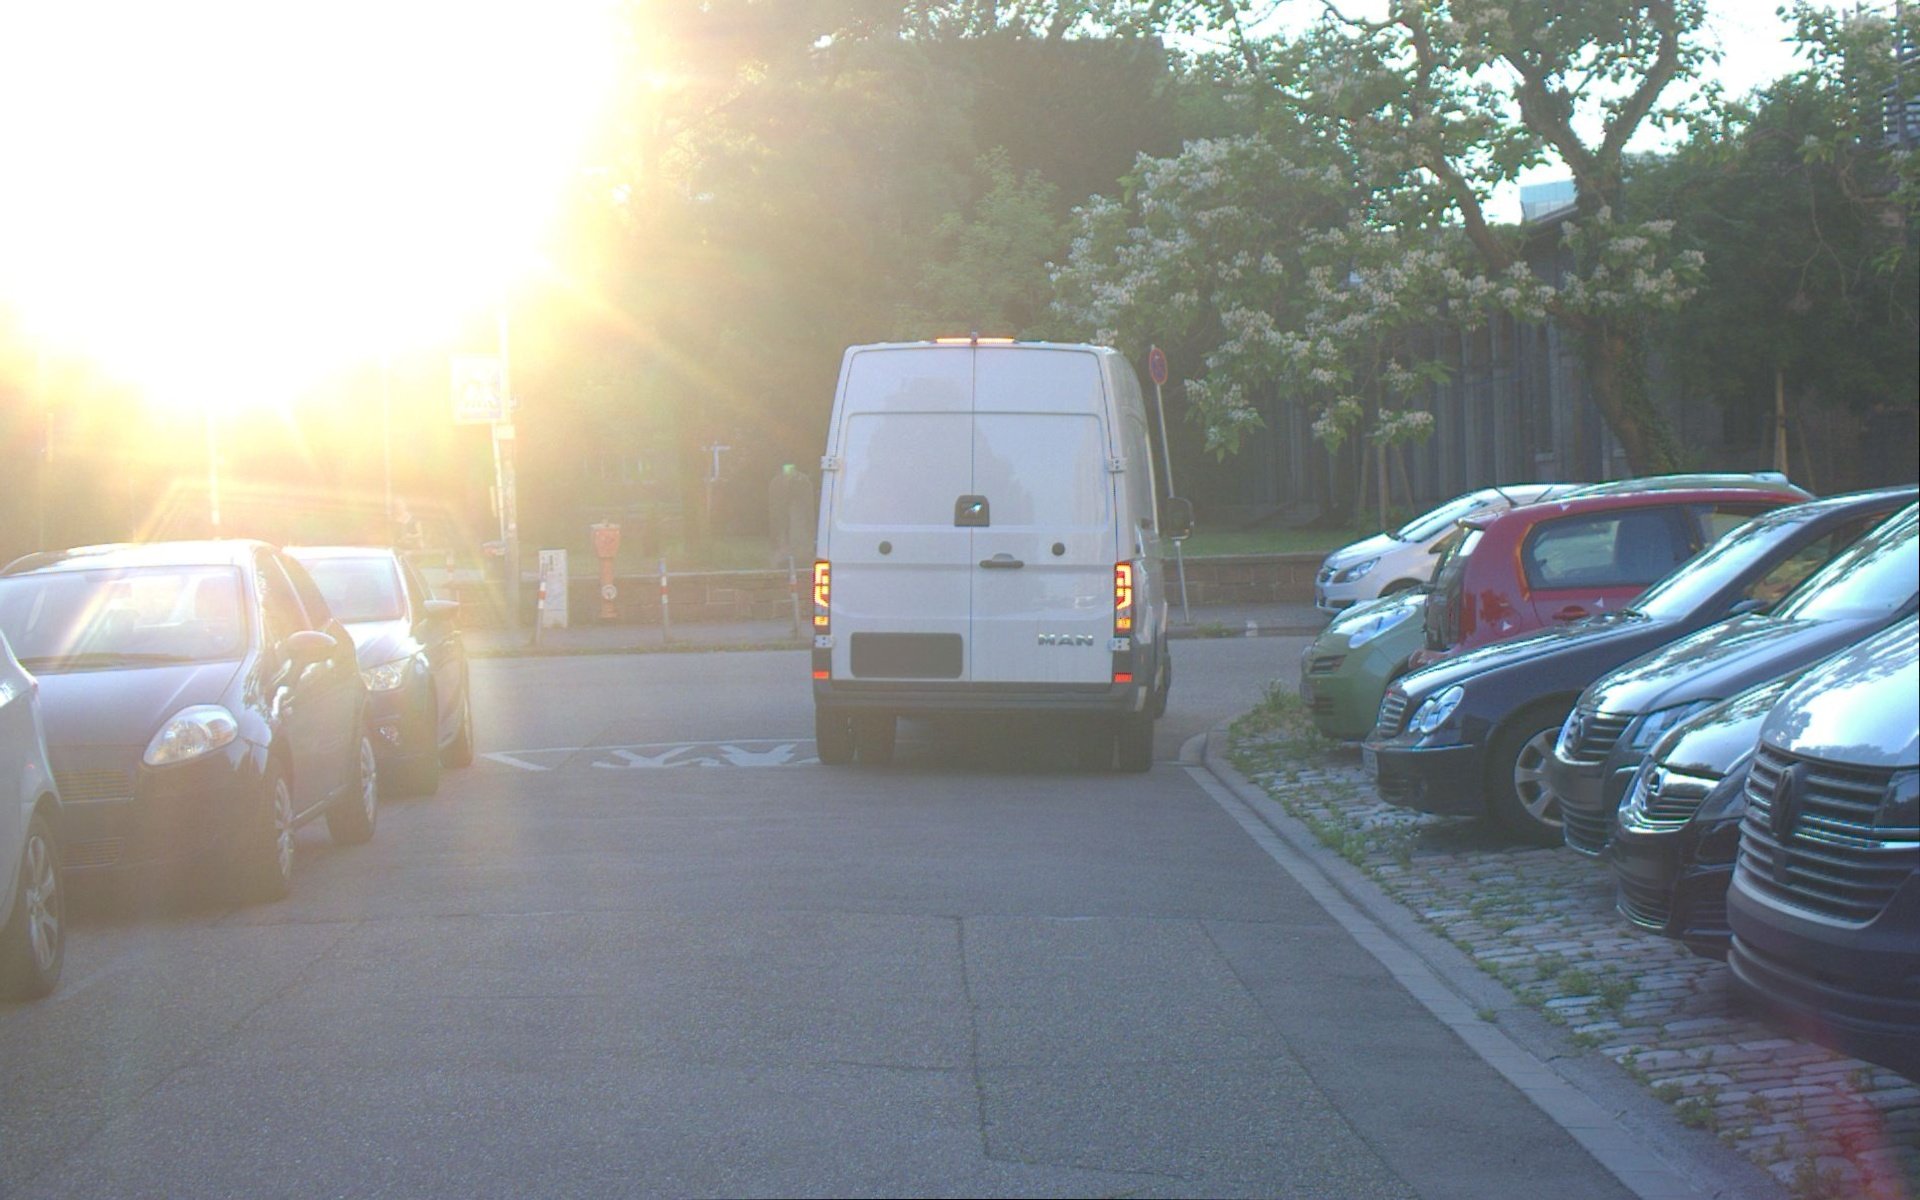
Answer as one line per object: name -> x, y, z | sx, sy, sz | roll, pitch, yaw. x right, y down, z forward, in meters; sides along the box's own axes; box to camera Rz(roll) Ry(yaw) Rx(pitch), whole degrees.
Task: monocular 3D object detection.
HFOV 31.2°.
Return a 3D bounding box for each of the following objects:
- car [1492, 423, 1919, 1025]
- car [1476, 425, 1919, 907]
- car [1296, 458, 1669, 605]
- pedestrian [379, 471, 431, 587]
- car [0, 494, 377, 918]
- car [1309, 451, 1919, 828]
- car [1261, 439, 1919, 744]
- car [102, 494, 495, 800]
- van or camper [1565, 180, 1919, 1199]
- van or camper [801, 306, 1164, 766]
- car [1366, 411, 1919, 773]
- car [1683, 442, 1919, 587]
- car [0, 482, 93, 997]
car -> 4.046, 0.230, 10.769 | 4.325, 1.655, 1.782 | -4, 0, -3
car -> 4.435, 0.127, 13.412 | 4.403, 1.655, 1.846 | -4, 0, -3
car -> 5.868, -0.794, 38.890 | 3.854, 1.568, 1.958 | -1, 2, -2
pedestrian -> -7.968, -1.024, 49.402 | 0.646, 1.643, 0.674 | 0, 2, -1
car -> -3.640, 0.364, 14.920 | 1.733, 1.562, 3.698 | -3, 2, -3
car -> 3.980, 0.124, 15.955 | 4.403, 1.526, 1.846 | -3, 0, -3
car -> 4.204, -0.068, 21.187 | 4.403, 1.626, 1.846 | -3, 0, -3
car -> -3.800, 0.192, 20.333 | 1.733, 1.562, 3.791 | -3, 2, -3
van or camper -> 4.258, 0.017, 8.010 | 5.132, 2.160, 2.040 | -5, 1, -2
van or camper -> 0.317, -0.457, 22.815 | 1.994, 2.609, 6.402 | 0, 2, 4
car -> 4.555, -0.143, 18.629 | 4.404, 1.625, 1.846 | -5, 1, 2
car -> 10.429, -1.006, 38.515 | 4.293, 1.498, 1.823 | -2, 2, 4
car -> -3.769, 0.483, 9.749 | 1.733, 1.562, 4.130 | -3, 2, -3
